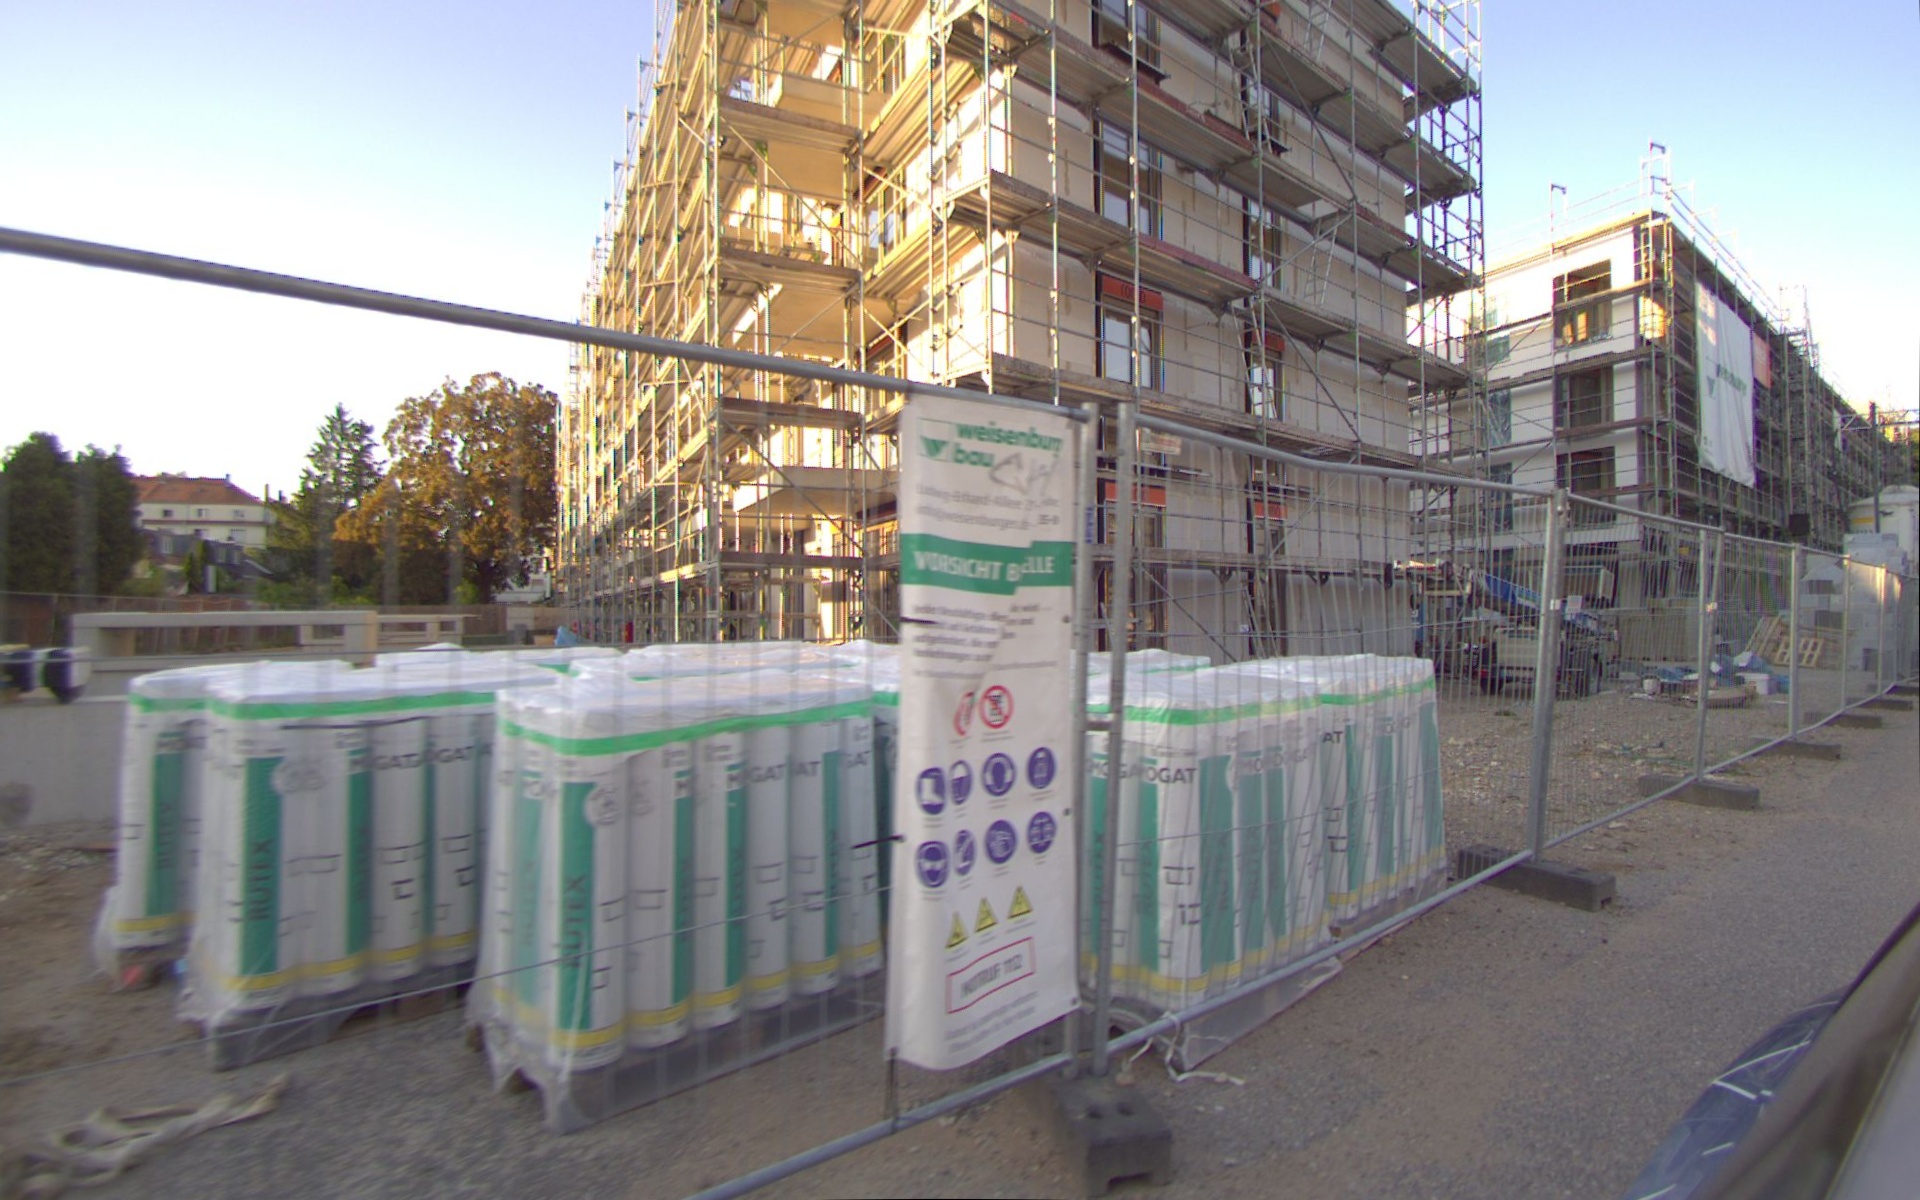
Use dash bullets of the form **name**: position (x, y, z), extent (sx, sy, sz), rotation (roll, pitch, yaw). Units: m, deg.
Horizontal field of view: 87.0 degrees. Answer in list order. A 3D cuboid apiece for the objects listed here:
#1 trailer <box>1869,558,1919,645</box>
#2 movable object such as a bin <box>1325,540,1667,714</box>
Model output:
- **trailer**: position (34.676, 0.054, 36.396), extent (6.135, 2.949, 2.575), rotation (0, 0, -44)
- **movable object such as a bin**: position (9.194, 0.354, 16.783), extent (8.219, 2.302, 2.069), rotation (0, 0, -40)
